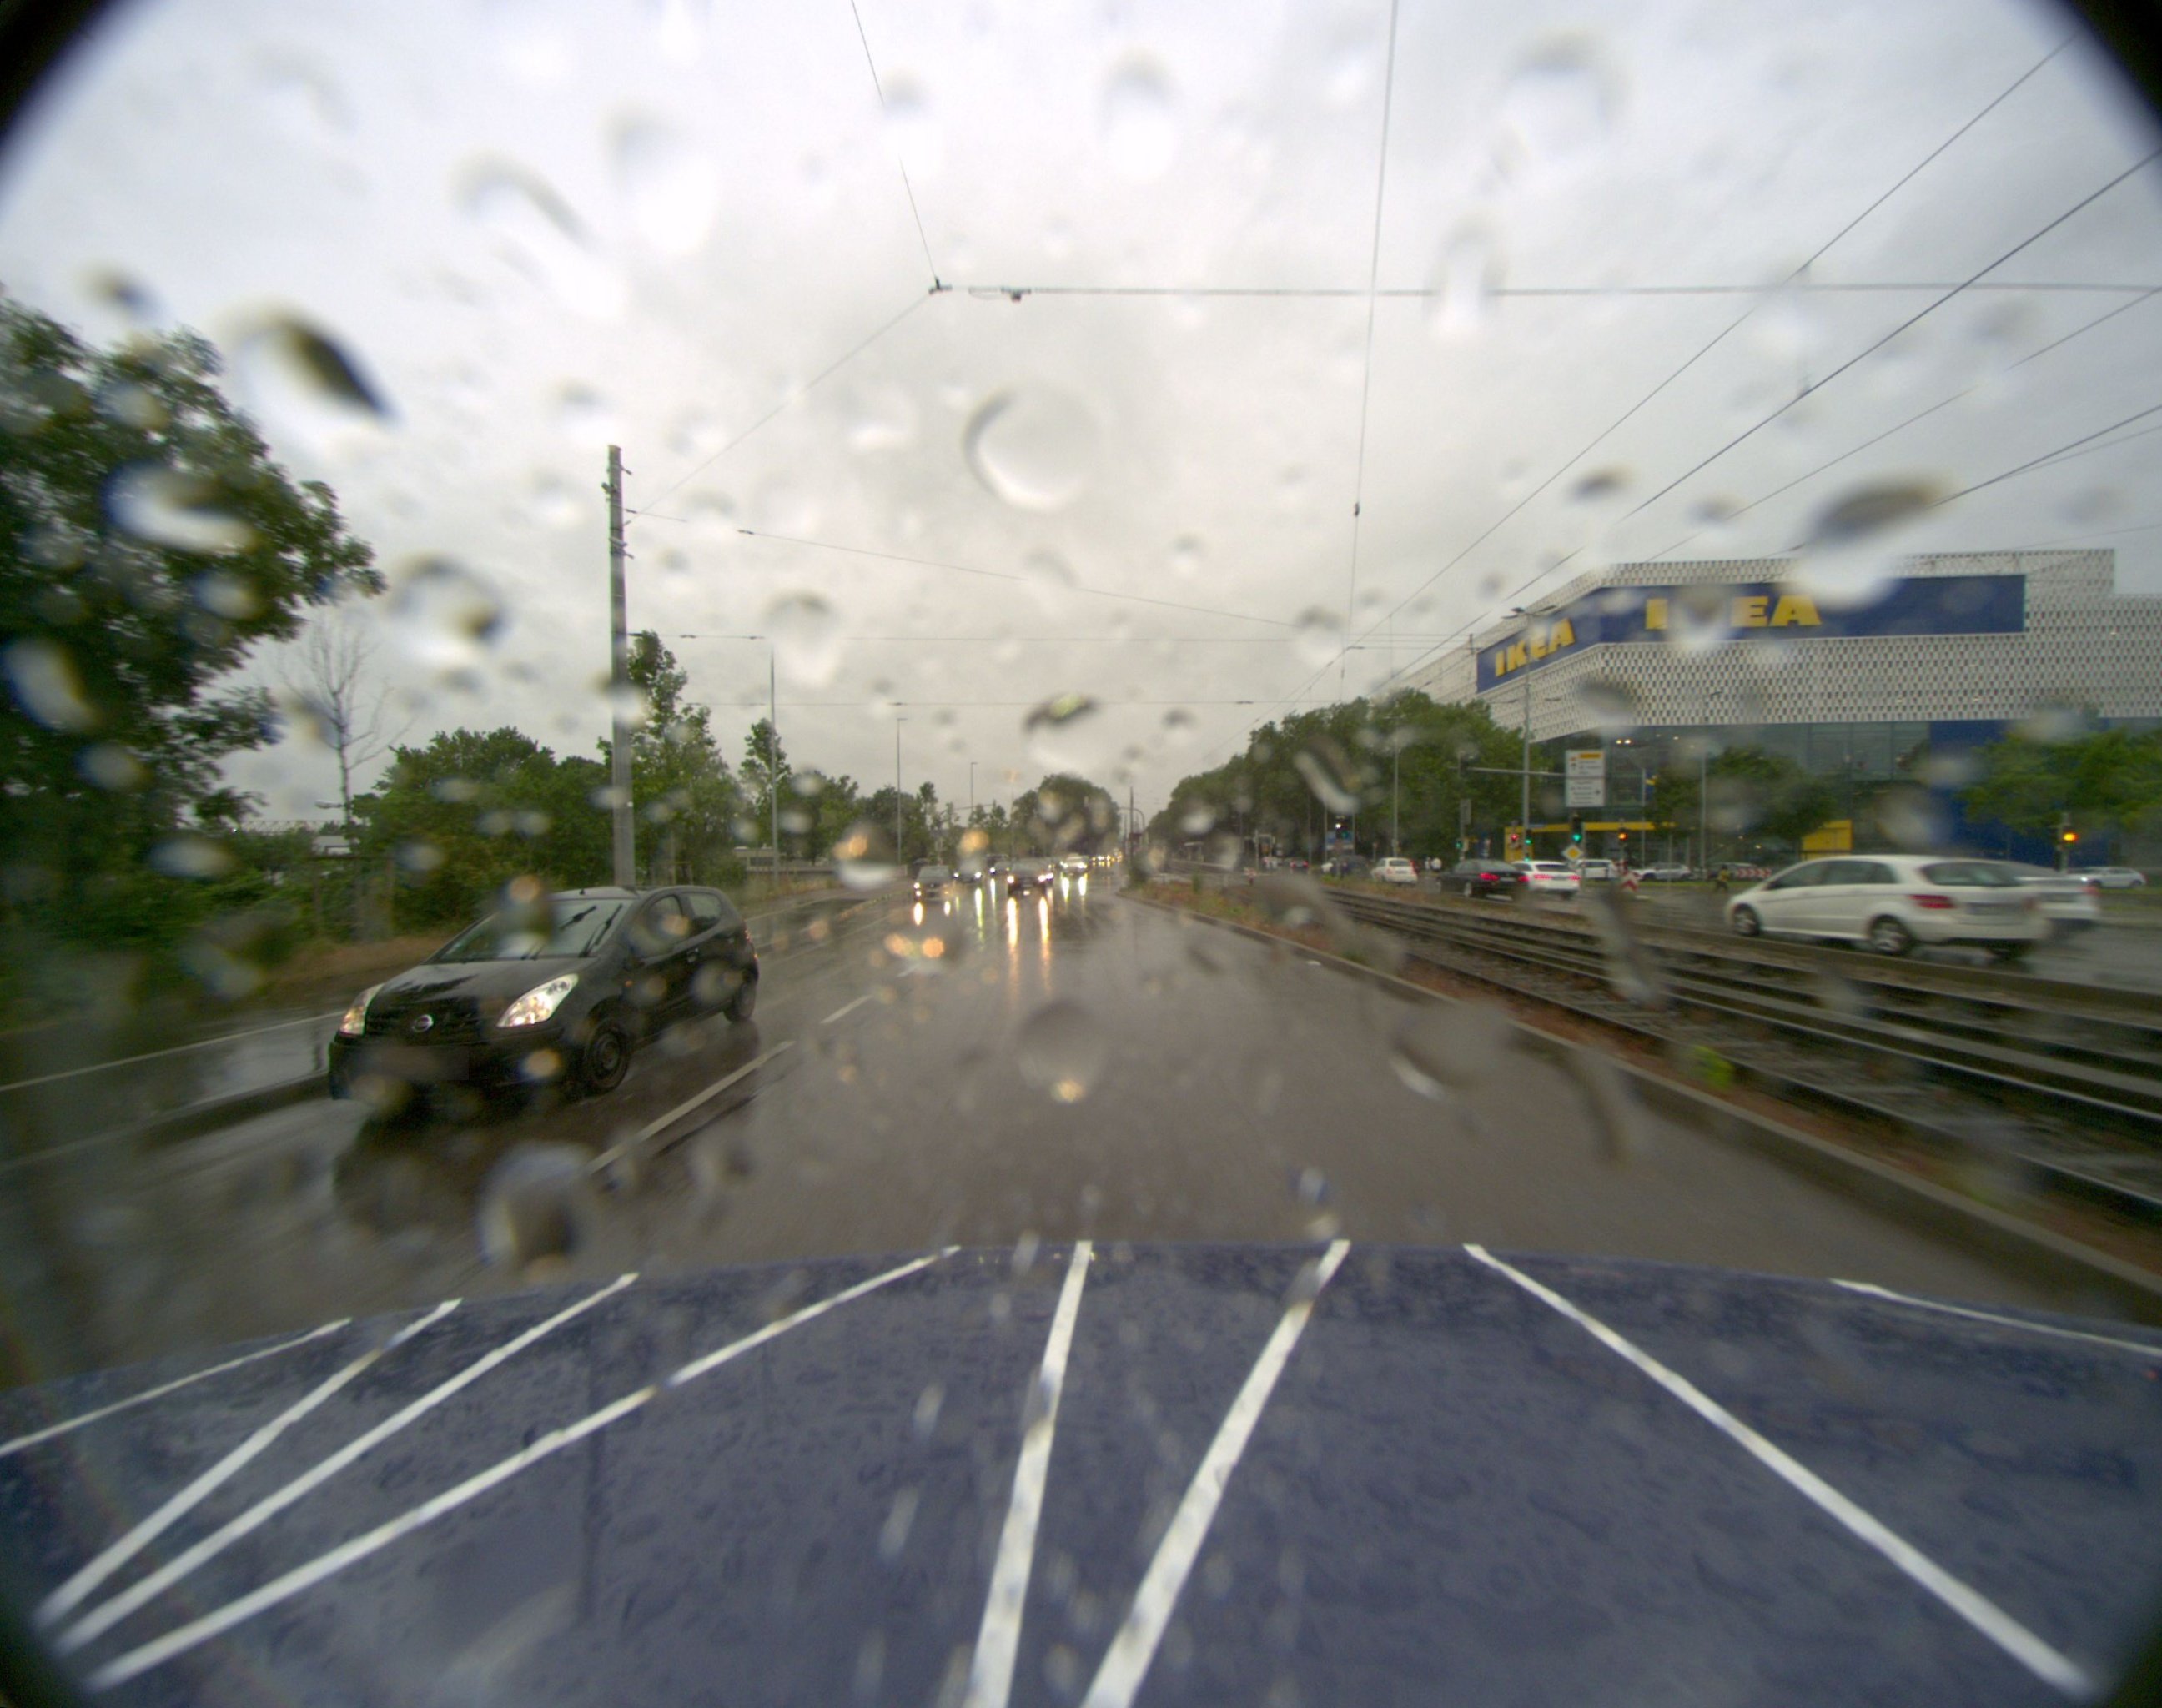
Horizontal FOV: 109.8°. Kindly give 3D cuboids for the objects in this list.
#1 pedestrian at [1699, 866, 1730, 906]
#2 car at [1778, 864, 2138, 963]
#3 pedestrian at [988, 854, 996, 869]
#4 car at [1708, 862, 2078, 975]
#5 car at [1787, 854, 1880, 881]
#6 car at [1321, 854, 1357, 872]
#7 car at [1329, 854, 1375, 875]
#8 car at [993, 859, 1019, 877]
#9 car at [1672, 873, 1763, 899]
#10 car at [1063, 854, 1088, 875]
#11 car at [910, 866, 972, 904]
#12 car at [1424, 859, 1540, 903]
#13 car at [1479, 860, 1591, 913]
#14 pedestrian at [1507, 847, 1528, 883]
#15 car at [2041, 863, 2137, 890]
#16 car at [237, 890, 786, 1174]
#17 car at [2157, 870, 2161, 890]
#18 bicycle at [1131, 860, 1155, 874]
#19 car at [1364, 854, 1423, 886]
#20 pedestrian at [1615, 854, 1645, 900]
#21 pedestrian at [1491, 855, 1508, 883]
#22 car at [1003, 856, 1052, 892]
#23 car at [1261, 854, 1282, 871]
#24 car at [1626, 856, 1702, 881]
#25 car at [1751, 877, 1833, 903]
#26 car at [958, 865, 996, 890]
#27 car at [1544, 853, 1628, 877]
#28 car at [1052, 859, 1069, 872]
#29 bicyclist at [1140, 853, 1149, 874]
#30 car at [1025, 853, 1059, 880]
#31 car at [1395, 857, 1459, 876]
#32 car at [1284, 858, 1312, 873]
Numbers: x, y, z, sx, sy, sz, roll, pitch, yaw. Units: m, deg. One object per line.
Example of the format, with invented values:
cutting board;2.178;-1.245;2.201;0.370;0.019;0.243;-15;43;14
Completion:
pedestrian;29.051;1.457;34.852;0.715;1.808;0.768;-2;1;-4
car;17.597;1.068;15.748;1.912;1.597;4.843;-3;0;2
pedestrian;-9.389;0.770;80.310;0.734;1.602;0.618;0;1;2
car;13.405;0.956;13.049;1.877;1.564;4.330;-2;-1;5
car;50.073;0.867;50.635;4.105;1.594;2.000;-2;1;4
car;22.431;0.776;66.165;1.816;1.427;4.715;-2;-1;5
car;17.917;0.700;50.485;1.716;1.242;4.463;-2;-1;4
car;-6.811;1.275;68.947;1.715;1.515;4.179;-2;-1;3
car;42.609;2.153;50.924;4.377;1.531;1.820;-2;-1;5
car;-0.460;0.944;68.567;1.993;1.778;4.554;-2;0;3
car;-6.014;1.294;33.073;1.715;1.476;4.044;-2;-1;3
car;14.913;0.942;28.641;1.927;1.415;5.085;3;0;4
car;18.705;1.262;31.624;1.998;1.890;4.791;-2;1;3
pedestrian;28.343;0.688;49.377;0.919;2.232;0.990;-3;3;16
car;69.056;1.520;52.101;4.009;1.664;1.682;-2;1;5
car;-4.123;1.134;6.512;1.777;1.453;4.091;-2;-1;-4
car;75.916;1.729;51.338;3.821;1.399;1.603;-2;1;5
bicycle;5.106;1.078;62.232;1.870;1.002;0.670;-3;0;1
car;16.447;0.830;40.239;1.716;1.526;4.049;-2;-1;5
pedestrian;24.897;1.026;34.467;0.696;2.002;0.857;-2;1;-4
pedestrian;29.938;1.067;54.314;0.783;2.002;0.858;-2;1;10
car;-2.493;0.941;36.264;1.876;1.573;4.044;-2;-1;2
car;20.943;0.932;83.643;1.715;1.698;4.432;-2;-1;7
car;41.836;1.035;54.595;4.014;1.609;1.760;-2;1;5
car;50.240;2.518;53.726;4.014;1.609;1.760;-2;1;5
car;-6.838;1.502;50.357;1.715;1.515;4.044;-2;-1;3
car;34.314;0.742;51.719;4.458;1.531;1.820;-2;-1;5
car;-2.464;1.353;90.996;1.715;1.515;4.044;-2;-1;3
bicyclist;5.205;0.780;62.164;0.618;1.721;0.793;-3;0;0
car;-2.412;0.771;47.656;1.715;1.515;4.044;-2;-1;3
car;32.037;1.178;70.449;2.003;1.558;5.049;-2;-1;-33
car;19.749;1.013;69.340;1.716;1.242;4.049;-2;-1;5
